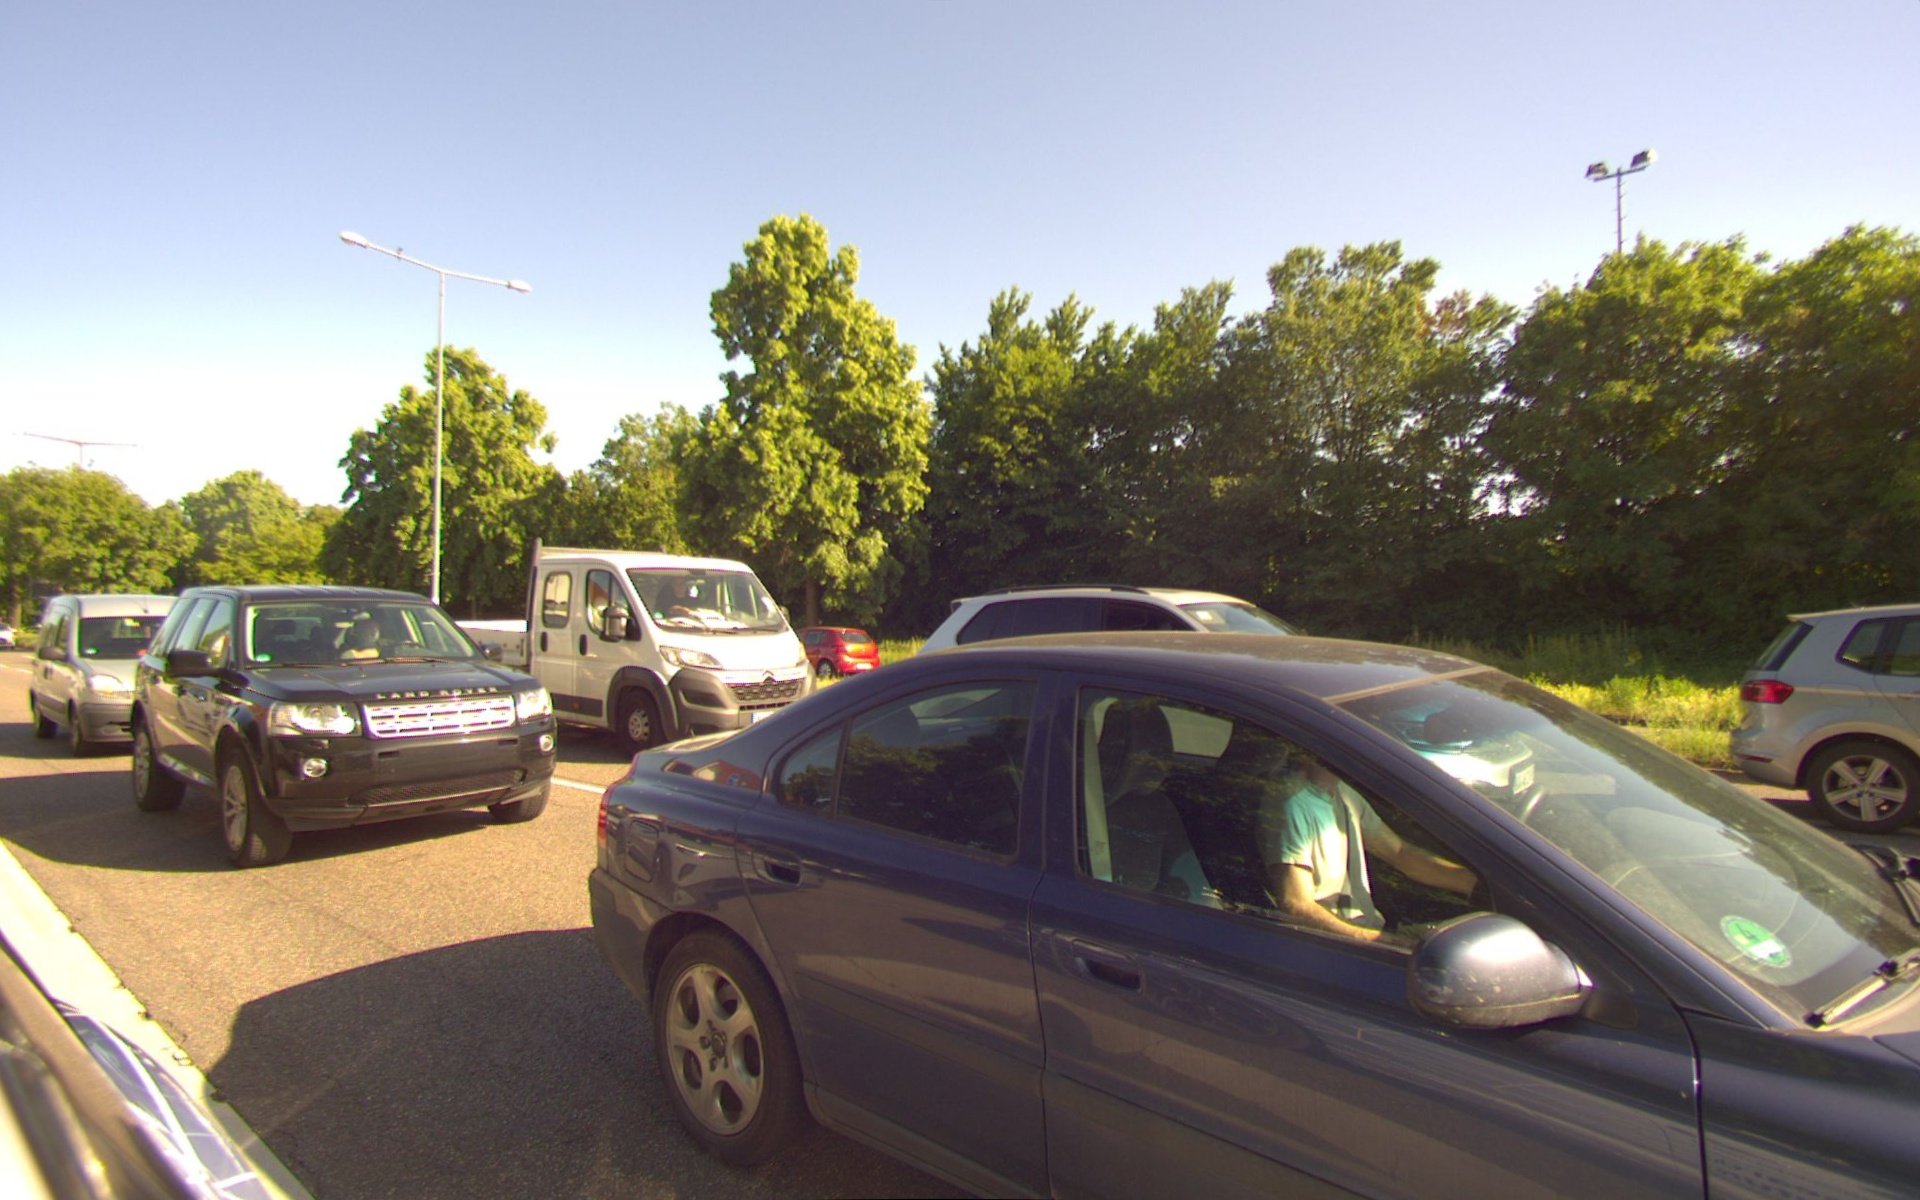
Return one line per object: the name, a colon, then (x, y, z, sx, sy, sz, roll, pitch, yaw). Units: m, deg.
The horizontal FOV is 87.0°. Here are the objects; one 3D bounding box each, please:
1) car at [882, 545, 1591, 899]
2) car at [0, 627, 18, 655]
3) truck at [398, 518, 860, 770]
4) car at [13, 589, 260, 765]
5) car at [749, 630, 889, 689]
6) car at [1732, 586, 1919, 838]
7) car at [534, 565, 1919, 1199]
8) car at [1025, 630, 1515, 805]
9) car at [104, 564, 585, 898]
car: (1.700, 0.669, 7.151, 4.422, 1.723, 1.973, -2, -3, 41)
car: (-52.297, 2.181, 54.481, 3.994, 1.456, 1.706, -1, -3, 38)
truck: (-4.383, 0.441, 12.435, 6.838, 2.337, 2.158, -1, -1, 40)
car: (-10.055, 0.800, 12.227, 4.384, 1.765, 1.611, -1, -1, 41)
car: (-3.971, 1.610, 28.263, 4.001, 1.521, 1.668, -2, -3, 41)
car: (7.628, 0.723, 6.419, 4.206, 1.623, 1.810, -2, -3, 42)
car: (0.889, 0.695, 2.431, 4.454, 1.463, 1.757, -1, 0, 41)
car: (3.029, 1.046, 10.553, 4.550, 1.440, 1.811, -2, -3, 41)
car: (-4.698, 0.706, 7.426, 4.384, 1.744, 1.793, -1, -1, 41)
